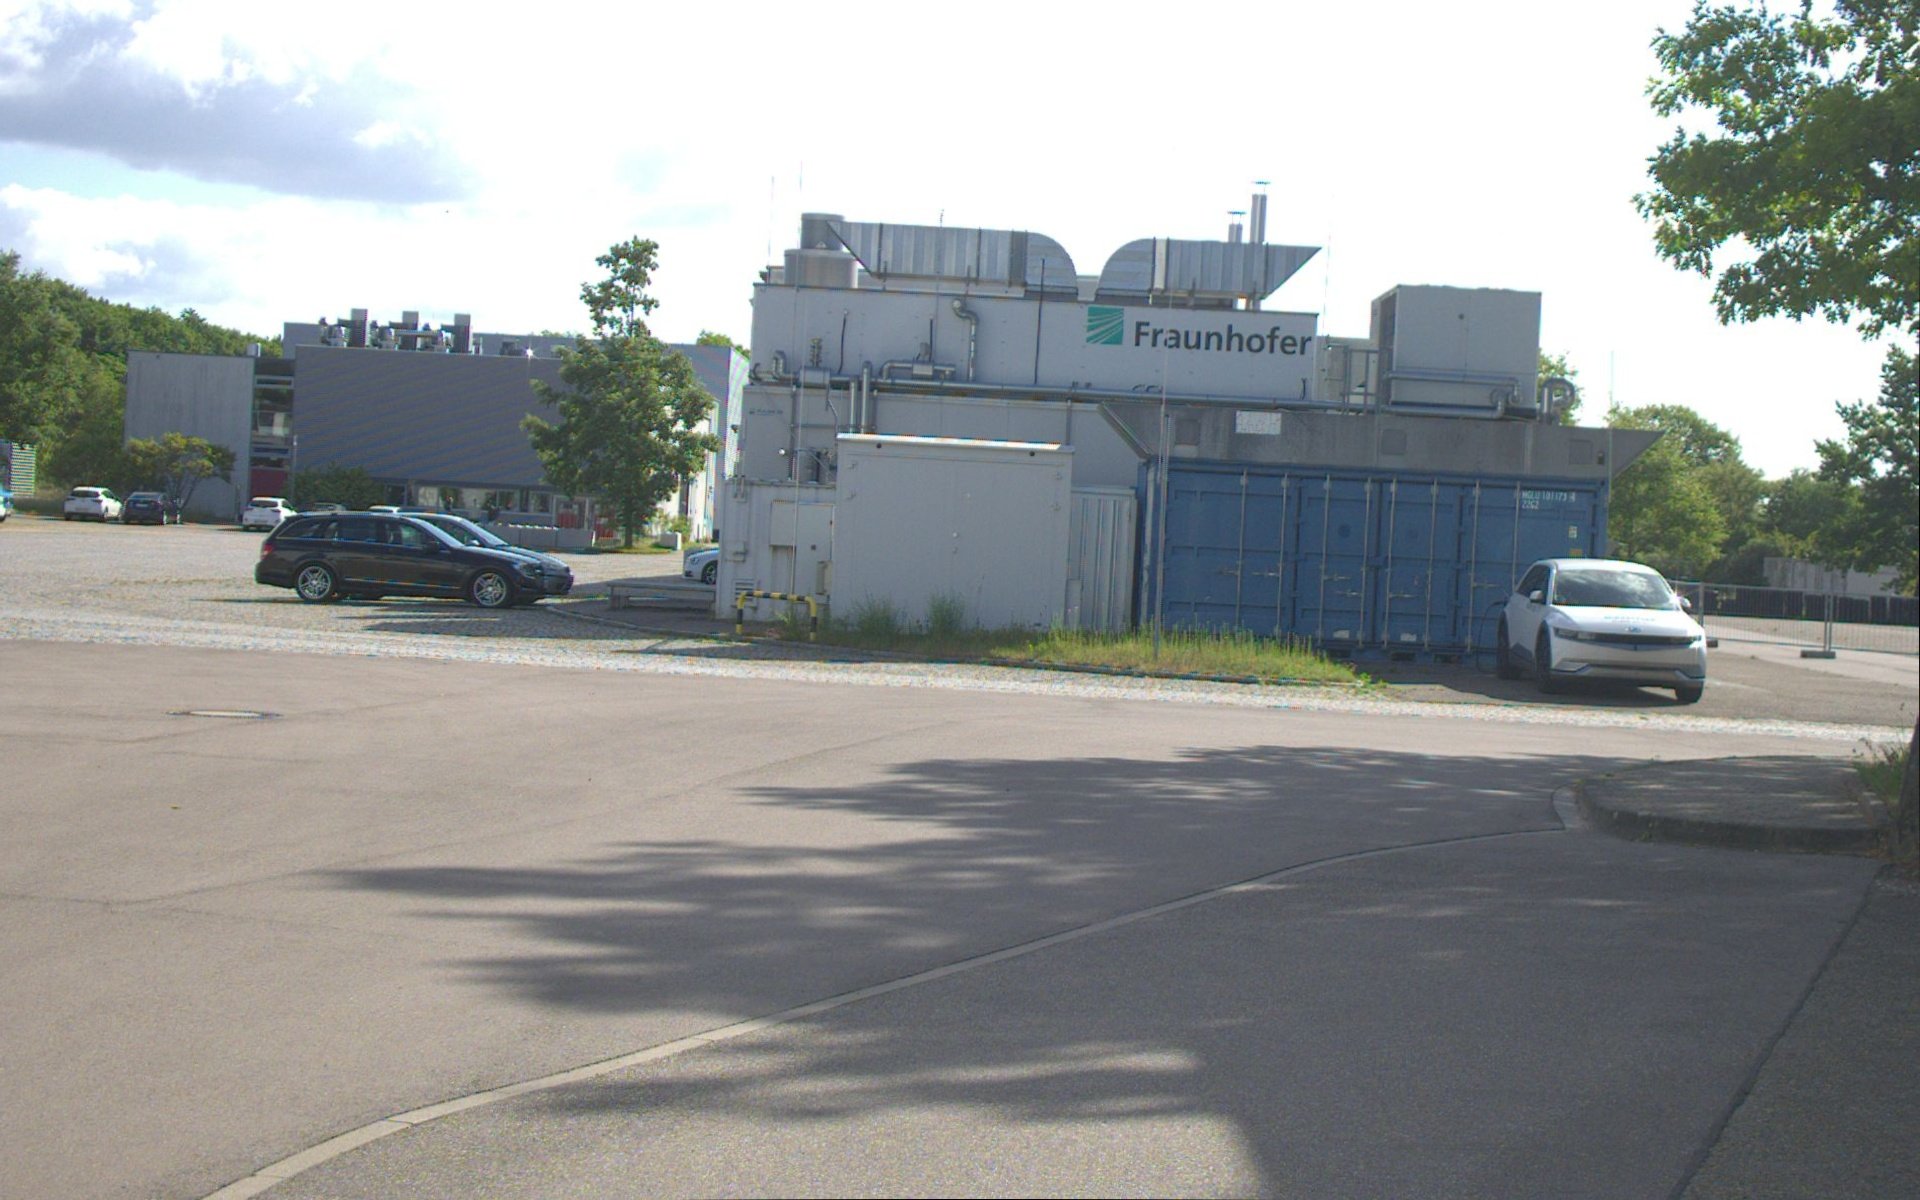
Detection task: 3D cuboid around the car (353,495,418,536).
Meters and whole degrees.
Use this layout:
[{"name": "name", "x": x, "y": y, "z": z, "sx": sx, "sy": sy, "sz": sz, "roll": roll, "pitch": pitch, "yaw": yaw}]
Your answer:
[{"name": "car", "x": -25.365, "y": -3.732, "z": 151.884, "sx": 2.193, "sy": 1.730, "sz": 4.000, "roll": 1, "pitch": 1, "yaw": 0}]

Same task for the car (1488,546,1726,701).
[{"name": "car", "x": 7.798, "y": 0.241, "z": 41.823, "sx": 1.993, "sy": 1.580, "sz": 4.173, "roll": 3, "pitch": 3, "yaw": 0}]

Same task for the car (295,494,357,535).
[{"name": "car", "x": -27.952, "y": -3.747, "z": 151.557, "sx": 1.993, "sy": 1.730, "sz": 4.000, "roll": 1, "pitch": 1, "yaw": 0}]

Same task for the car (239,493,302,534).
[{"name": "car", "x": -30.448, "y": -3.801, "z": 151.923, "sx": 1.993, "sy": 1.730, "sz": 4.000, "roll": 1, "pitch": 1, "yaw": 0}]

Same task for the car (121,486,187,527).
[{"name": "car", "x": -35.478, "y": -4.108, "z": 151.452, "sx": 1.993, "sy": 1.730, "sz": 4.000, "roll": 1, "pitch": 1, "yaw": 0}]

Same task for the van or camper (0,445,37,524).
[{"name": "van or camper", "x": -37.654, "y": -4.405, "z": 128.305, "sx": 5.714, "sy": 2.918, "sz": 2.474, "roll": 3, "pitch": 1, "yaw": -2}]

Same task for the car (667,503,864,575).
[{"name": "car", "x": -4.627, "y": -1.464, "z": 82.239, "sx": 4.526, "sy": 1.503, "sz": 1.909, "roll": 3, "pitch": 1, "yaw": 1}]

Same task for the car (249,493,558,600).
[{"name": "car", "x": -8.816, "y": -0.853, "z": 54.671, "sx": 4.526, "sy": 1.503, "sz": 1.909, "roll": 2, "pitch": 1, "yaw": 2}]

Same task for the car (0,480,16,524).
[{"name": "car", "x": -36.623, "y": -3.650, "z": 125.050, "sx": 3.987, "sy": 1.604, "sz": 2.000, "roll": 3, "pitch": 1, "yaw": -1}]

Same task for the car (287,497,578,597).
[{"name": "car", "x": -8.846, "y": -0.898, "z": 57.909, "sx": 4.526, "sy": 1.503, "sz": 1.909, "roll": 2, "pitch": 1, "yaw": 2}]

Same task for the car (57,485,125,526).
[{"name": "car", "x": -38.284, "y": -4.163, "z": 151.524, "sx": 1.993, "sy": 1.730, "sz": 4.000, "roll": 1, "pitch": 1, "yaw": 0}]
